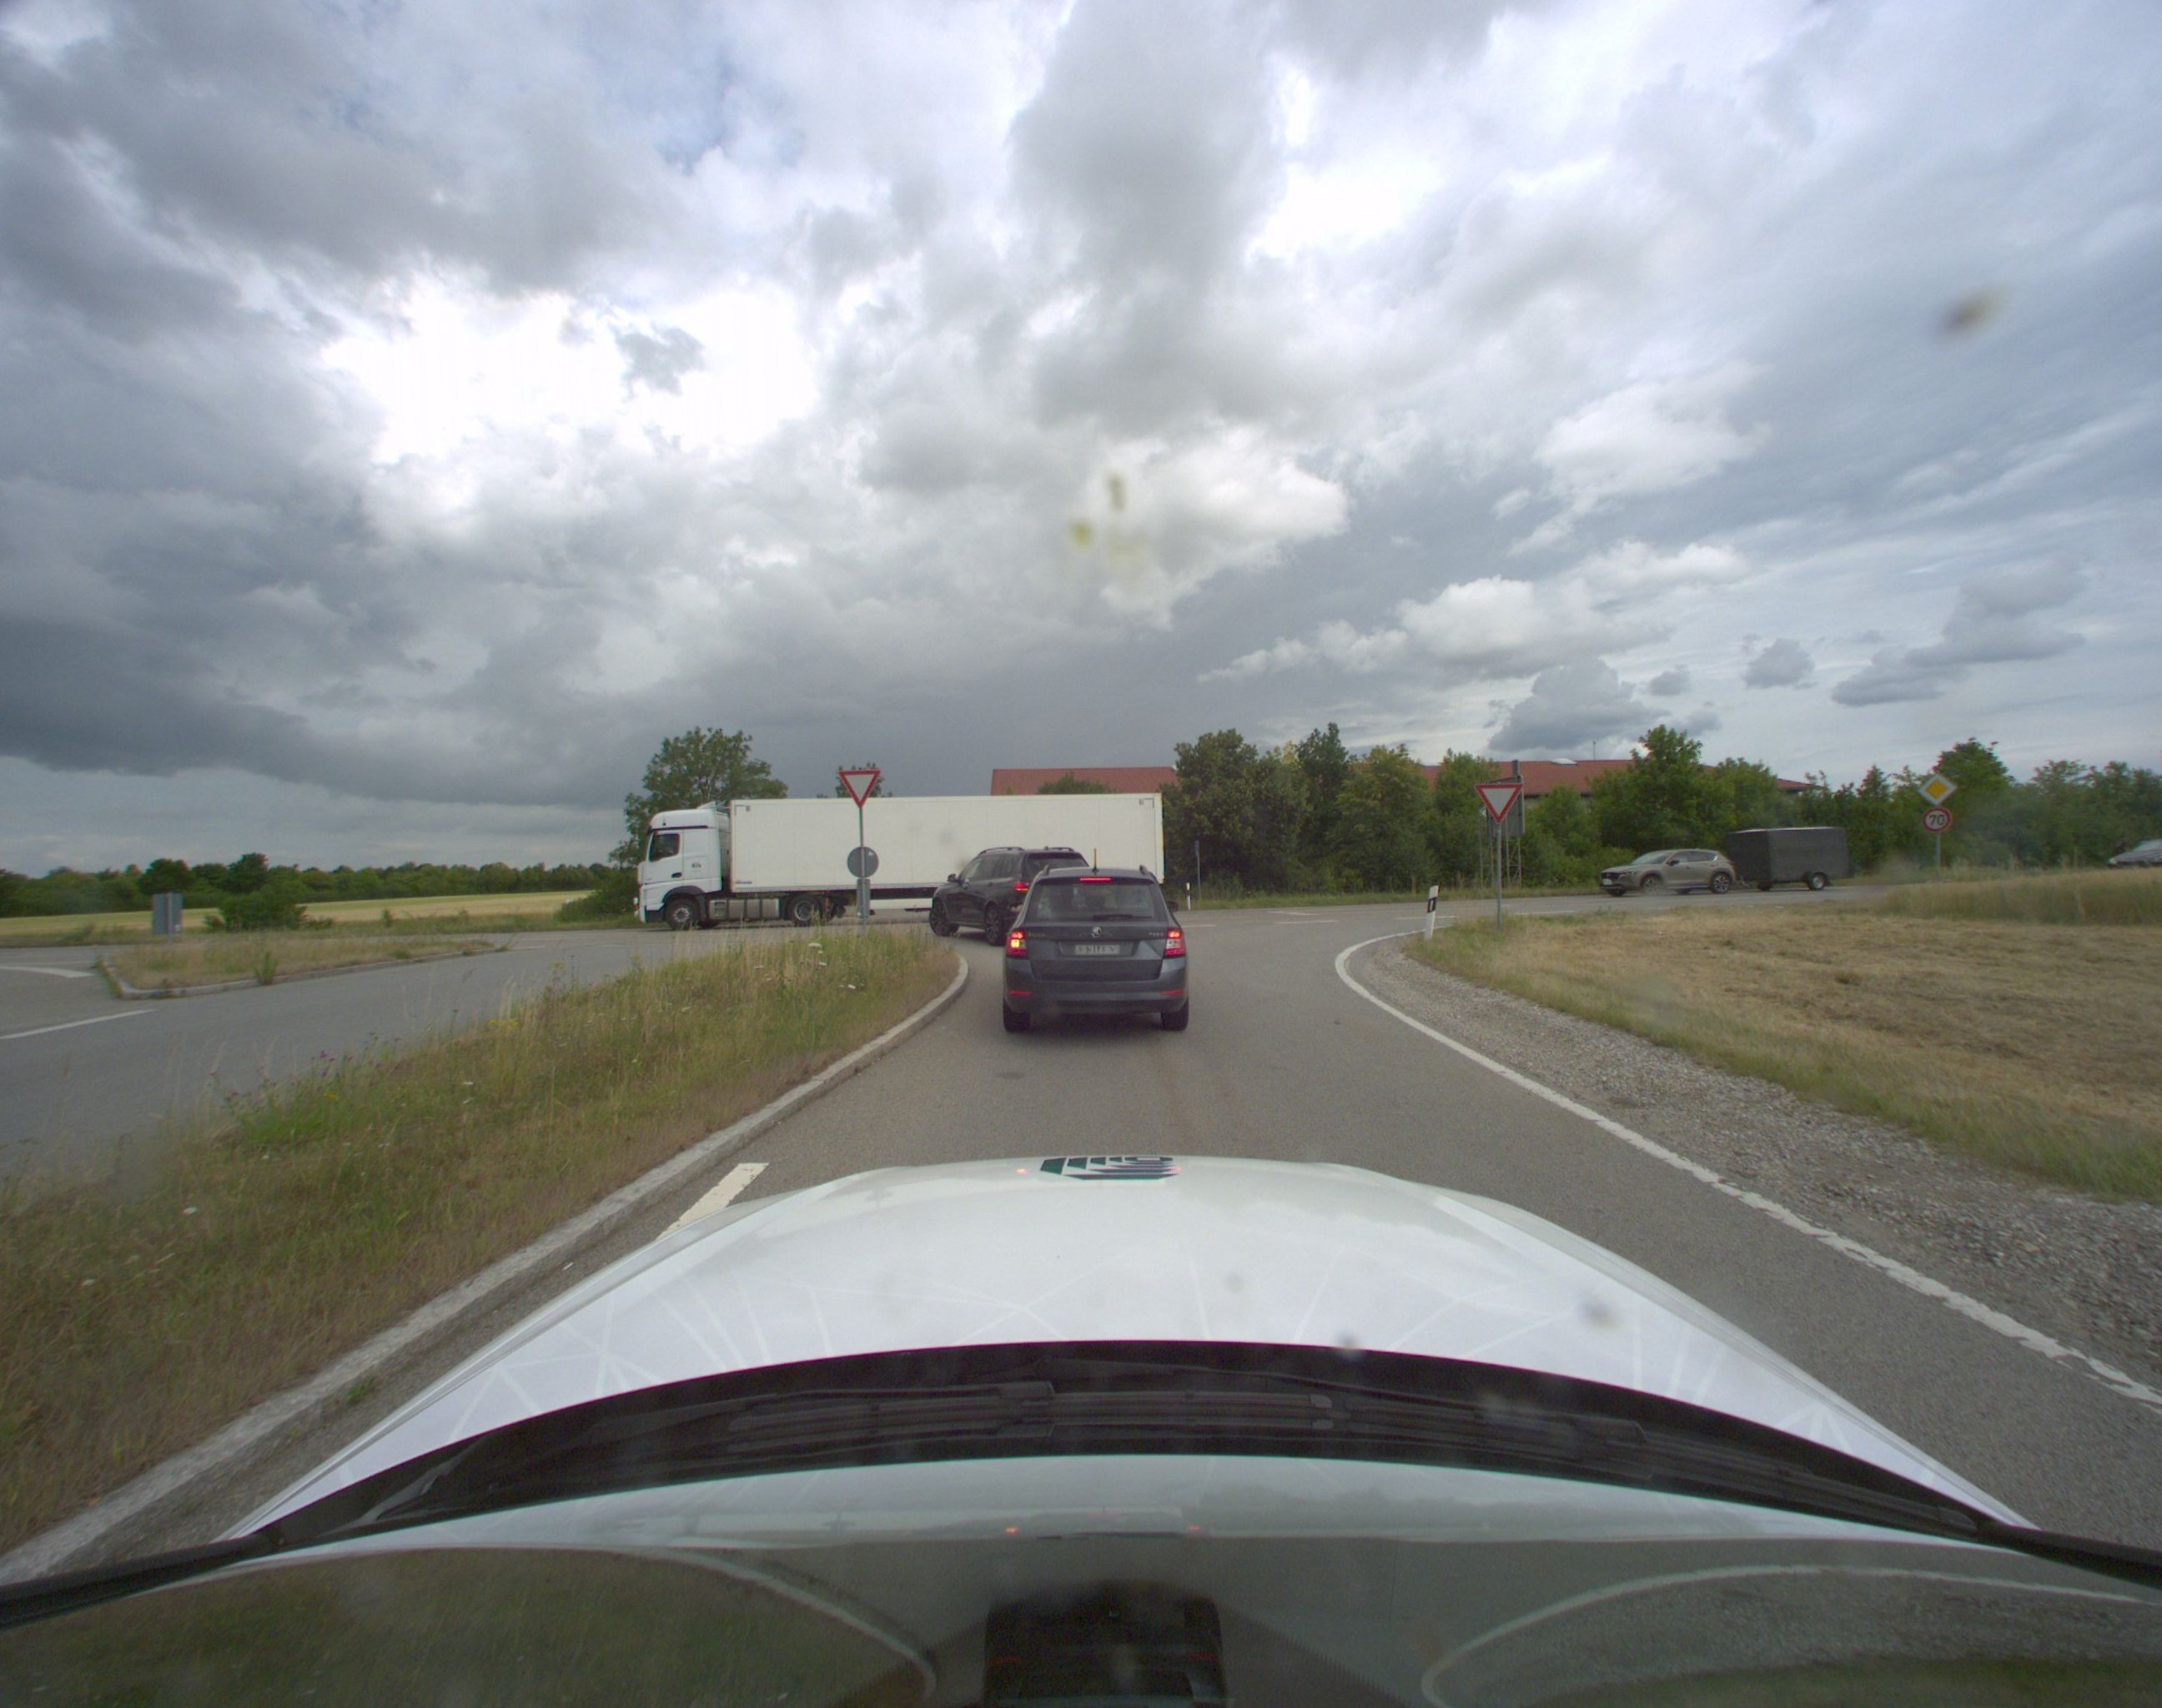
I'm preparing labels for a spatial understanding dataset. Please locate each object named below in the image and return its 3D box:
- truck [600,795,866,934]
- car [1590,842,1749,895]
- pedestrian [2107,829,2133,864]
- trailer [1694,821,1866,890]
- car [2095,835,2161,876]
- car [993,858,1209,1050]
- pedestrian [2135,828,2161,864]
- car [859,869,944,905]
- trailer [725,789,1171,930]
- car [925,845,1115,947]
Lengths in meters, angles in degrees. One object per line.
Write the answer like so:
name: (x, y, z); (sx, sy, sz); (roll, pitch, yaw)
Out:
truck: (-11.033, 0.348, 26.520); (7.273, 4.015, 3.122); (-2, -2, -6)
car: (21.202, 0.539, 29.432); (4.461, 1.682, 1.994); (-2, -2, -8)
pedestrian: (51.039, -0.376, 40.004); (0.626, 1.682, 0.528); (-2, 0, -10)
trailer: (25.667, 0.084, 30.011); (4.378, 2.293, 2.411); (-2, -2, -7)
car: (42.393, -0.004, 31.467); (4.282, 1.487, 1.996); (-3, -1, -6)
car: (0.131, 0.801, 8.301); (1.671, 1.462, 3.706); (-1, 0, -1)
pedestrian: (51.108, -0.375, 38.983); (0.626, 1.682, 0.528); (-2, 0, -10)
car: (-11.114, 2.046, 50.380); (4.851, 2.013, 2.357); (-2, 0, 34)
trailer: (-4.158, 0.167, 27.280); (13.823, 4.015, 3.122); (-2, -2, -6)
car: (-1.416, 0.803, 16.635); (2.007, 1.775, 4.597); (-1, -2, -31)
